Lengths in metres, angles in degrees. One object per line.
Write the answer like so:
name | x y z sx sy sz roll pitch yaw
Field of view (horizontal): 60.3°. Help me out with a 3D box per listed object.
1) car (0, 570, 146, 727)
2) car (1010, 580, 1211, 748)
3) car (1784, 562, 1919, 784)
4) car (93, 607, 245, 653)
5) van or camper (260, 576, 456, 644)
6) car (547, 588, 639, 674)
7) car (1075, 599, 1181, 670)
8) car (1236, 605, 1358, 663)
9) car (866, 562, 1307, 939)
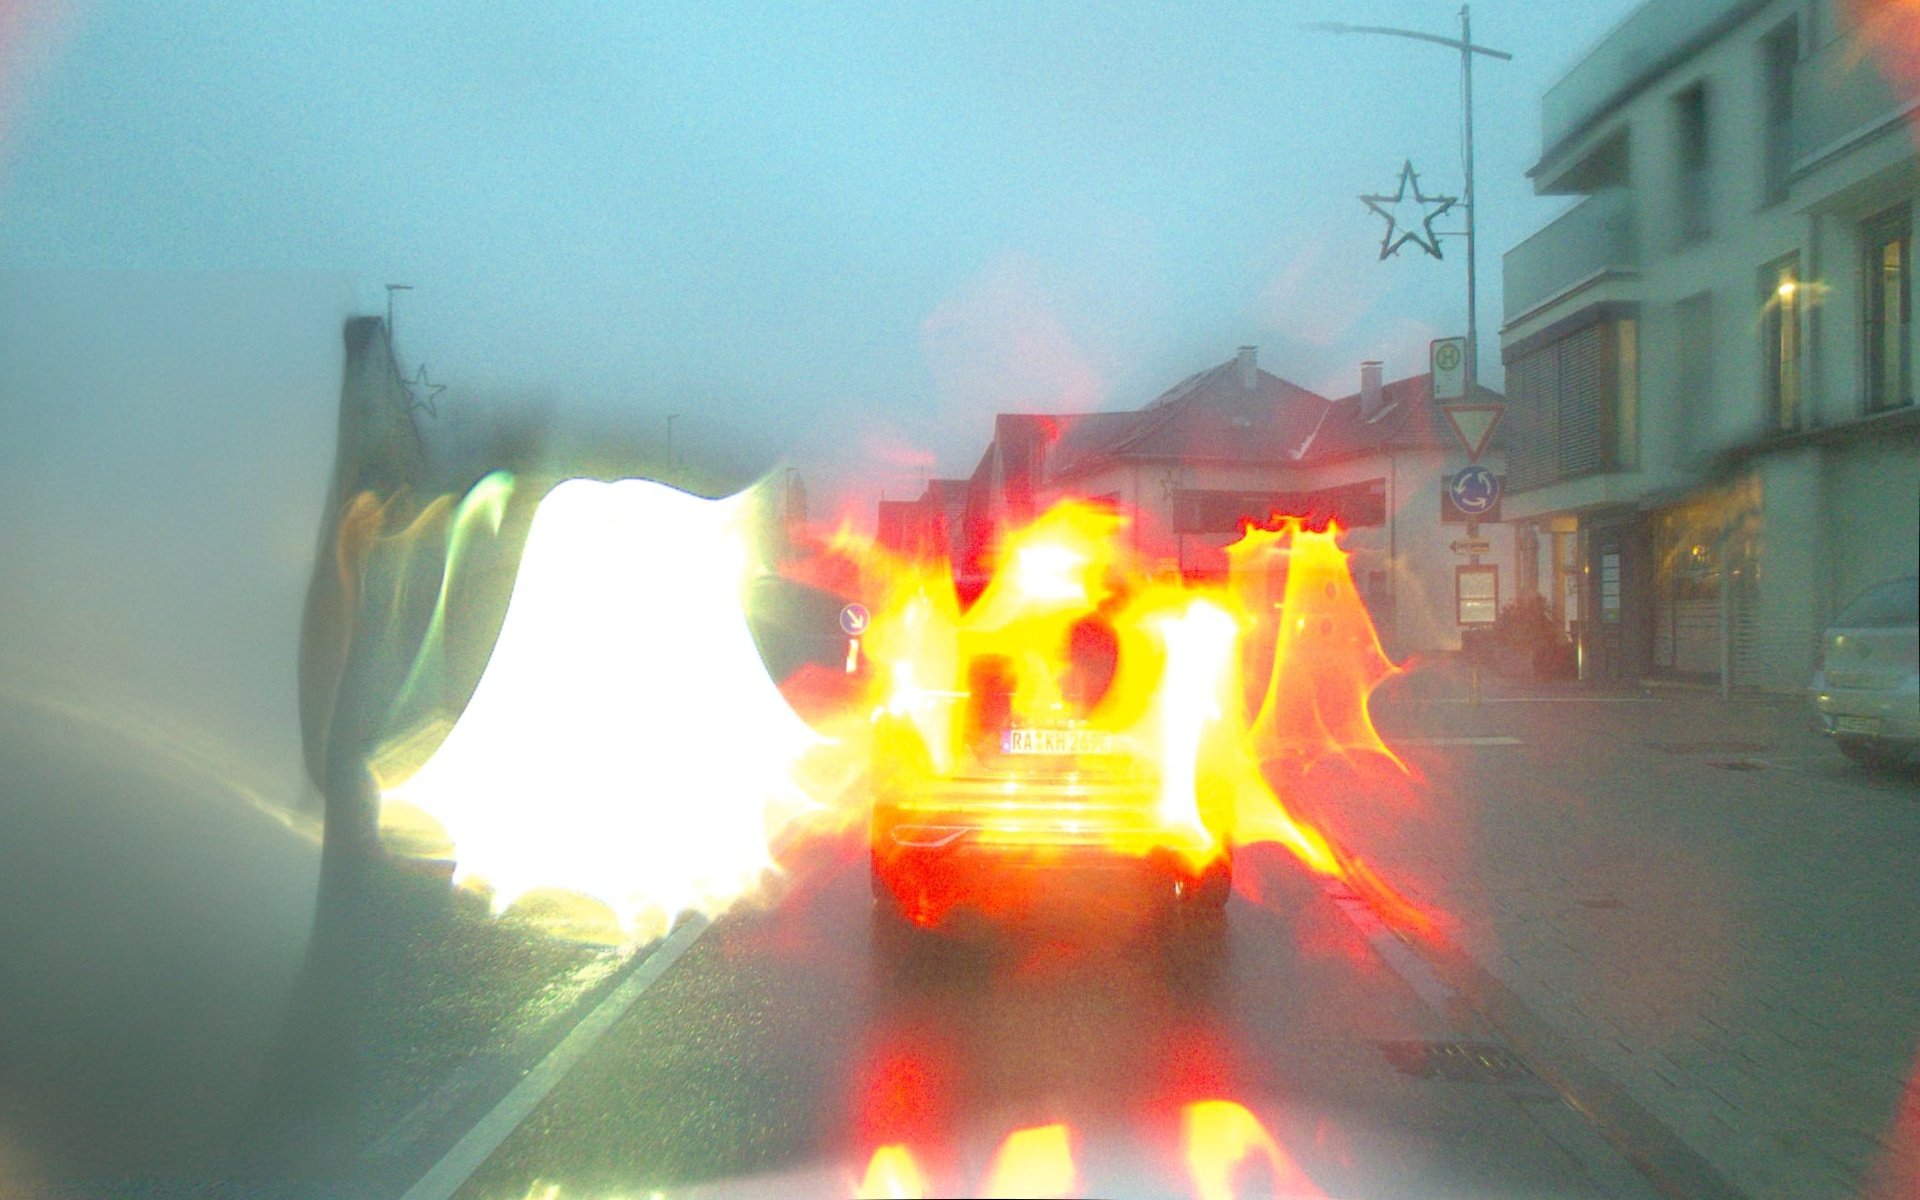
car | -12.316 0.596 22.671 2.013 1.959 4.020 0 0 -27
car | 1.391 0.559 16.614 1.648 1.478 4.000 0 0 0
car | 8.392 0.394 11.829 4.125 1.485 1.790 -3 0 -6
car | -24.734 0.934 51.830 3.908 1.388 1.726 0 0 -4
van or camper | -18.387 0.301 50.558 5.412 1.989 2.002 0 0 13
car | -10.370 0.840 46.542 1.964 2.242 4.393 2 -1 -19
car | 3.639 0.684 35.267 1.951 1.416 4.004 0 0 10
car | 9.022 0.897 44.031 1.957 1.443 3.991 -2 -1 31
car | 0.564 0.660 9.488 1.924 1.622 4.313 1 0 0
